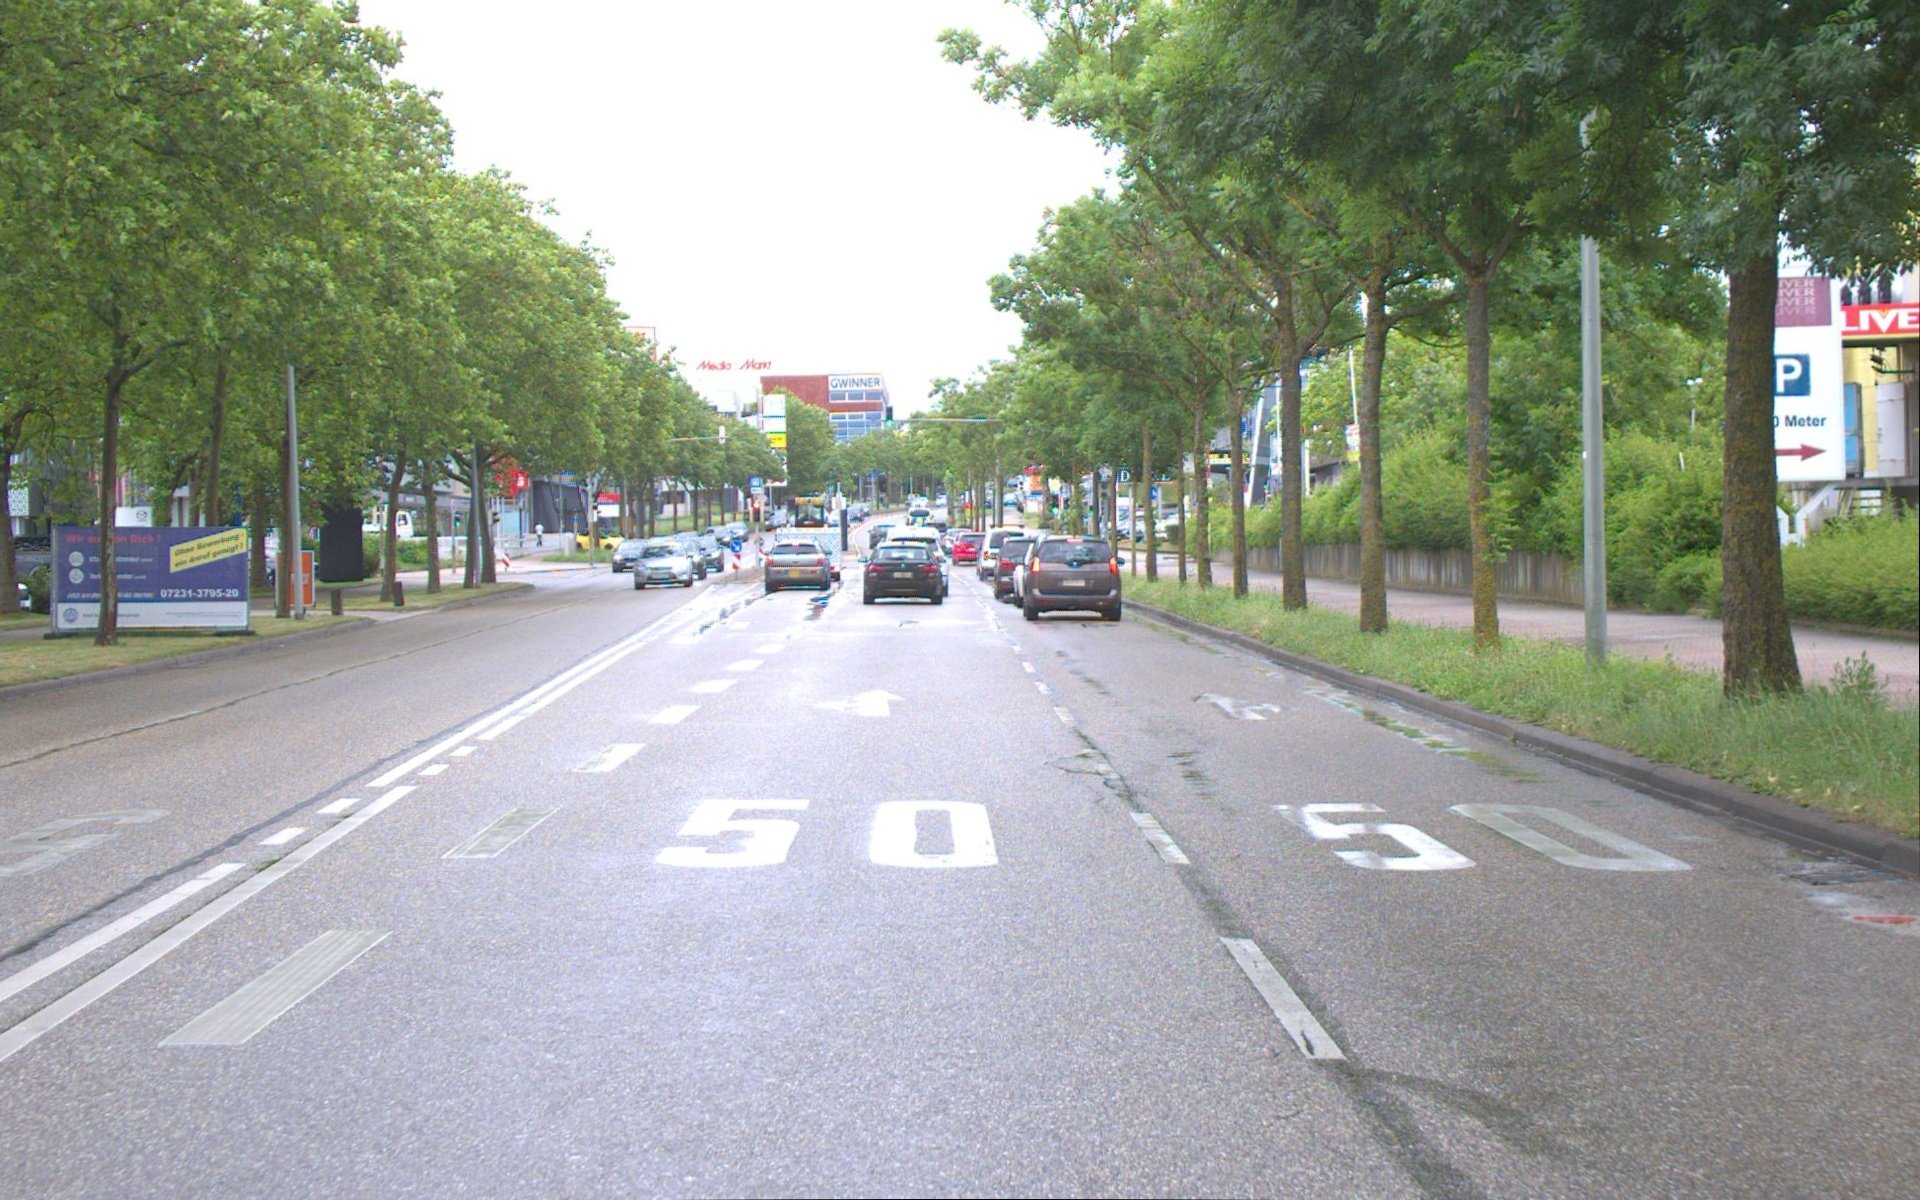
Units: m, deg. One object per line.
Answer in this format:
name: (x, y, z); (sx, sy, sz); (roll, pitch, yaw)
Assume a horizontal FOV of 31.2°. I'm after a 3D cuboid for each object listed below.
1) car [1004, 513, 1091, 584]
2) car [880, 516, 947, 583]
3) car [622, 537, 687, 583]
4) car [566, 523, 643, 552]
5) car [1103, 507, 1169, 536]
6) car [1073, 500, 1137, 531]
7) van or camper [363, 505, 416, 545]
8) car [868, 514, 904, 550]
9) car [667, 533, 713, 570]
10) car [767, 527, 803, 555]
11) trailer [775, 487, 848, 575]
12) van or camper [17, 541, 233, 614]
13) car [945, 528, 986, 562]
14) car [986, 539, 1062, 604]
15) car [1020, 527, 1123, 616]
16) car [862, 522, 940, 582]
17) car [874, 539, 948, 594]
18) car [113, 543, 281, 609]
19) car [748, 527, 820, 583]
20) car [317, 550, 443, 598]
car: (1.956, -1.172, 78.109); (1.801, 1.539, 4.620); (1, 1, -1)
car: (-1.431, -1.537, 105.353); (1.993, 2.007, 4.000); (1, 0, -1)
car: (-10.061, -1.323, 112.846); (1.993, 1.424, 4.686); (-2, 1, -6)
car: (-20.308, -3.587, 196.343); (3.994, 1.546, 1.896); (-1, 2, 33)
car: (10.003, -4.475, 195.624); (3.589, 1.530, 1.643); (-3, 2, -40)
car: (9.468, -5.538, 225.107); (4.111, 1.898, 1.800); (-2, 2, 1)
van or camper: (-28.967, -3.802, 174.621); (1.993, 1.960, 4.789); (1, 0, -1)
car: (-4.263, -3.921, 197.716); (1.993, 2.007, 4.000); (1, 0, 0)
car: (-11.435, -2.056, 145.518); (1.666, 1.457, 4.182); (-2, 1, -7)
car: (-8.945, -3.024, 175.396); (1.682, 1.372, 4.001); (-1, 1, -5)
trailer: (-5.076, -2.345, 117.464); (2.372, 2.887, 5.546); (-2, 1, -2)
van or camper: (-22.612, -0.617, 93.081); (5.282, 1.815, 2.267); (-2, 1, -26)
car: (0.241, -2.392, 149.630); (1.695, 1.438, 3.989); (-1, 1, -1)
car: (1.638, -0.771, 89.294); (1.801, 1.581, 4.451); (1, 2, -1)
car: (2.100, -0.573, 65.611); (1.726, 1.619, 4.471); (-1, 1, -1)
car: (-1.418, -1.150, 81.201); (1.781, 1.393, 4.001); (0, 1, -2)
car: (-1.340, -0.921, 91.933); (1.682, 1.372, 4.001); (-1, 1, -5)
car: (-22.293, -0.720, 100.476); (4.452, 1.809, 2.000); (-2, 1, -23)
car: (-5.216, -1.366, 102.276); (1.907, 1.573, 4.881); (-2, 1, -1)
car: (-21.573, -0.982, 127.878); (4.217, 1.590, 2.000); (-3, 2, -24)
